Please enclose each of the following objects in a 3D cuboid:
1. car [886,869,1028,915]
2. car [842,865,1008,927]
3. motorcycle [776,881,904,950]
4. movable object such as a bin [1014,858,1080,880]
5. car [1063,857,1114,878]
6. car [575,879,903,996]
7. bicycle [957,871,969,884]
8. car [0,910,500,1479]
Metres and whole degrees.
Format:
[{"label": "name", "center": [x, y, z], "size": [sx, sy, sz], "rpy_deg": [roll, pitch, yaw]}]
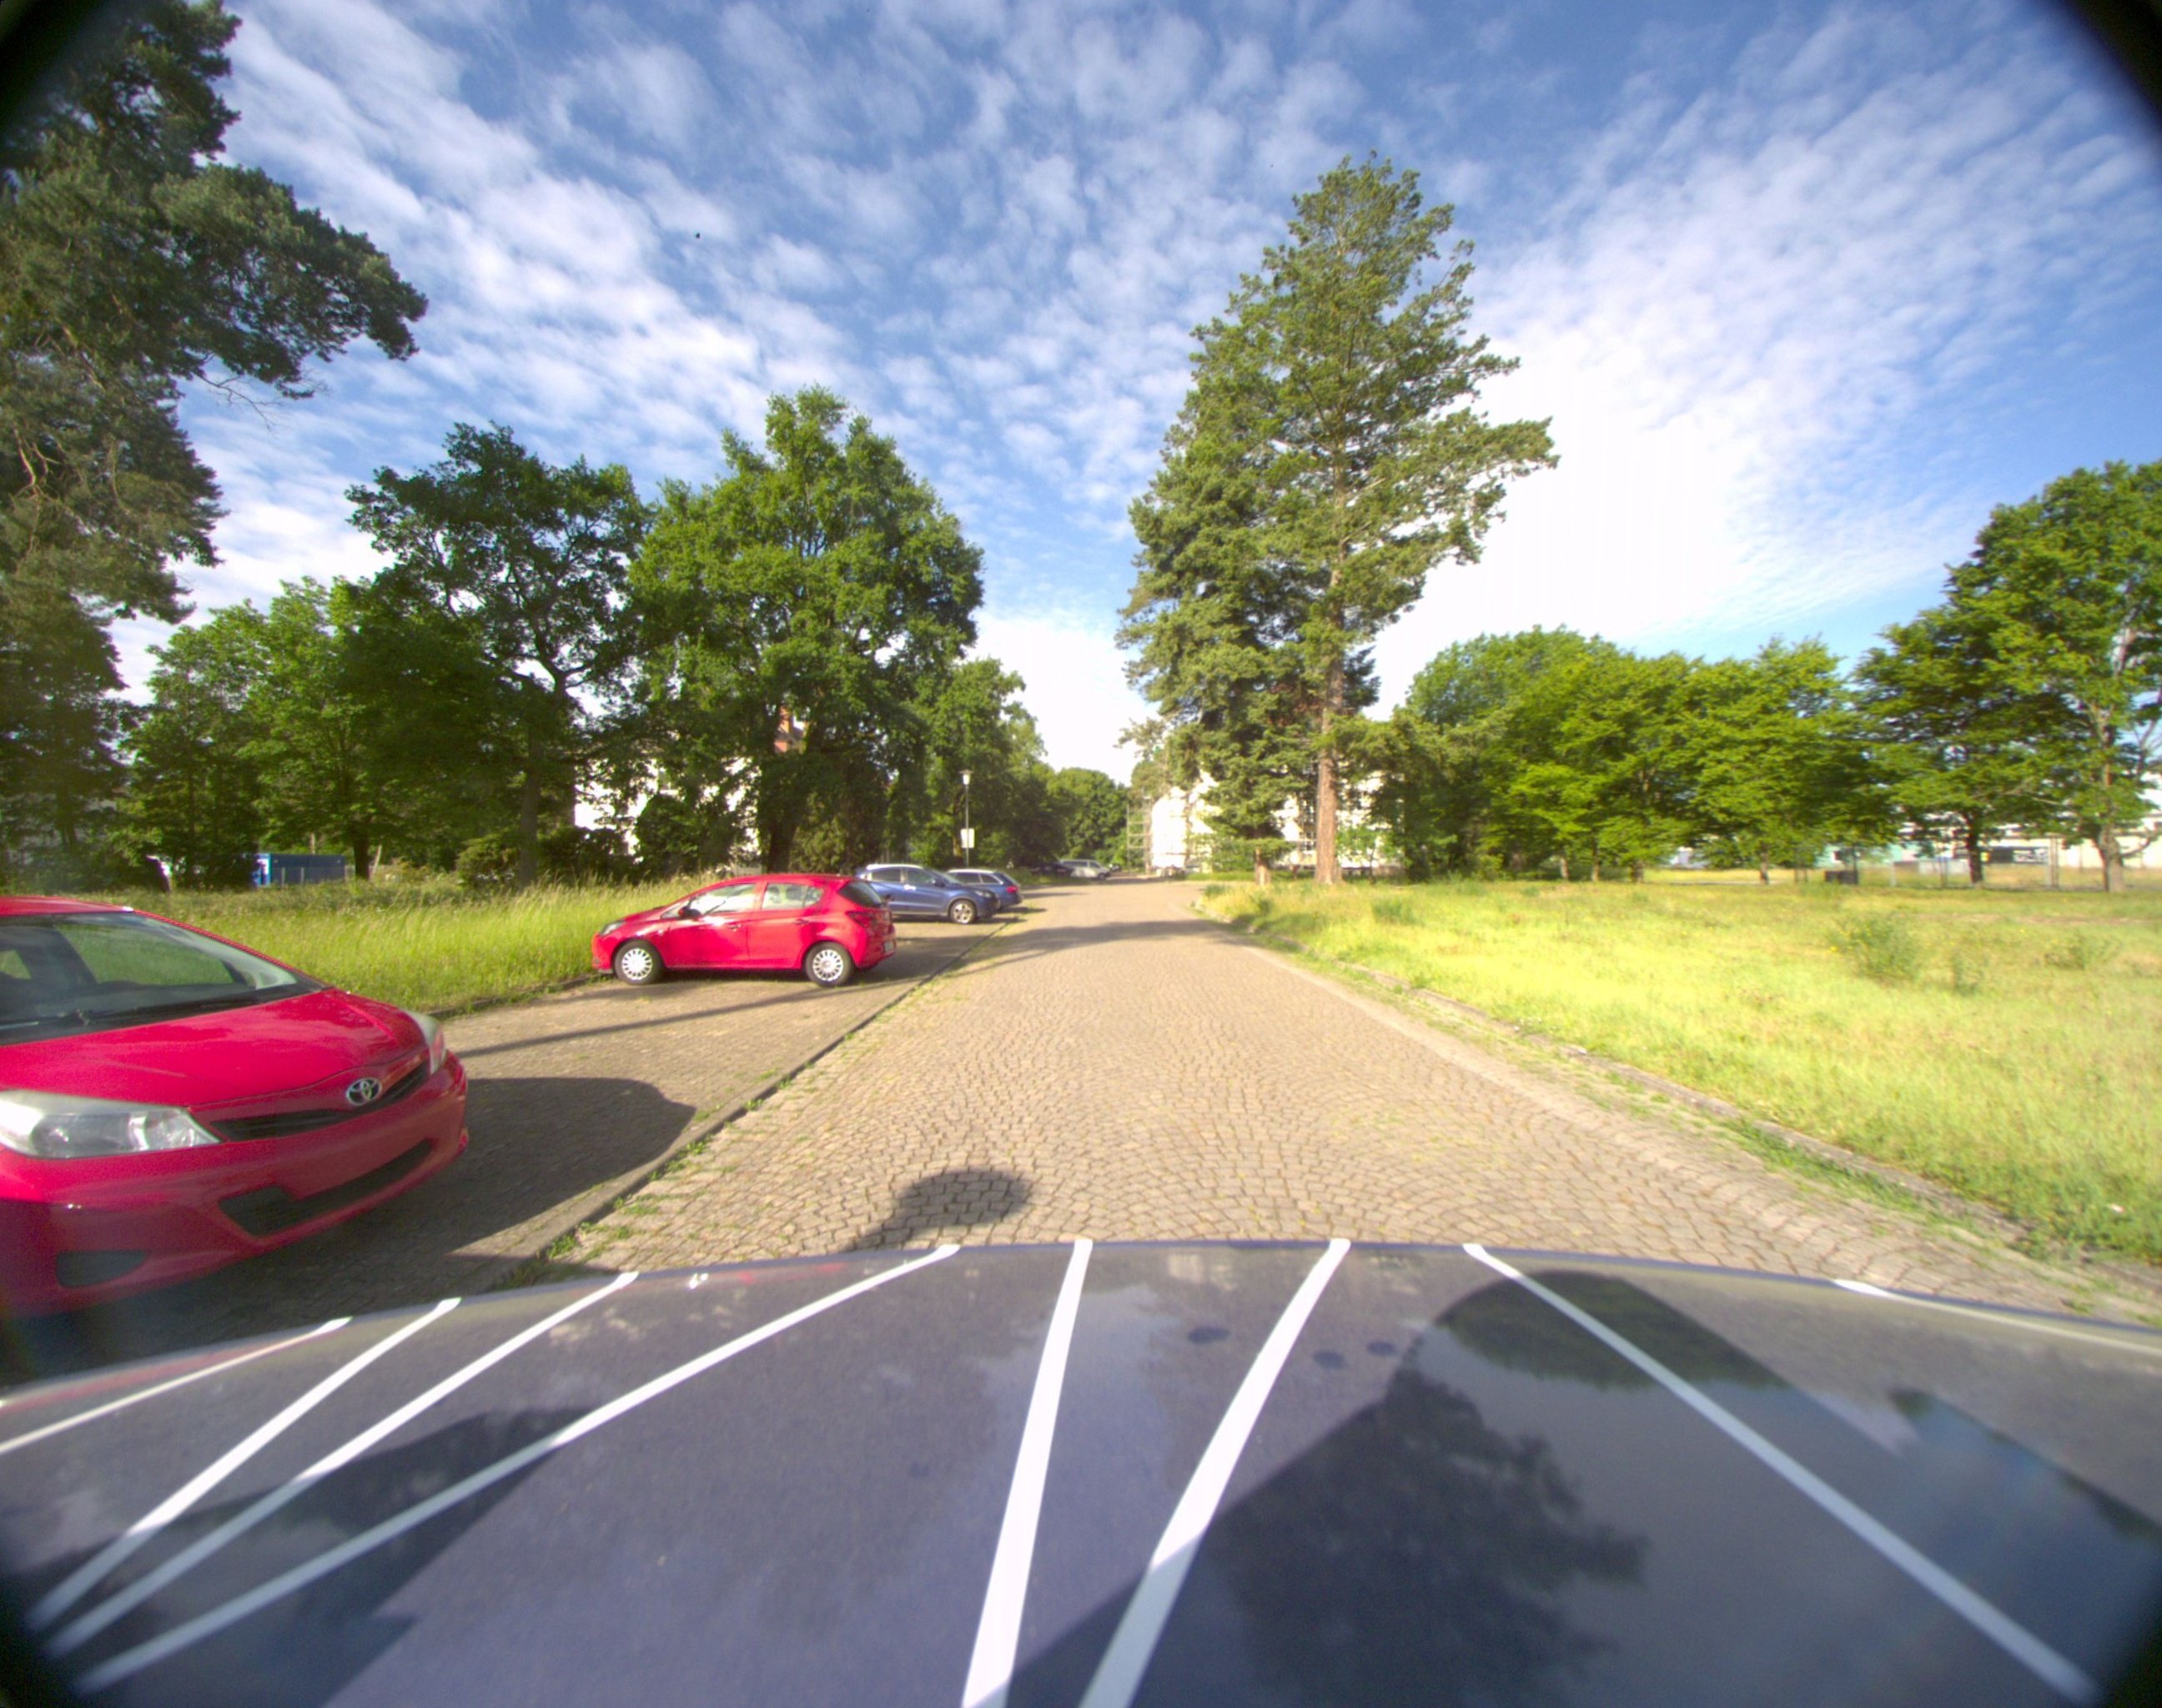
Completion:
[{"label": "car", "center": [-4.111, 1.254, 25.605], "size": [4.459, 1.399, 1.714], "rpy_deg": [1, 0, 4]}, {"label": "car", "center": [-4.199, 1.109, 20.914], "size": [4.187, 1.581, 1.751], "rpy_deg": [-1, 0, 0]}, {"label": "motorcycle", "center": [-4.784, 1.205, 15.166], "size": [2.305, 1.312, 0.726], "rpy_deg": [0, 0, 0]}, {"label": "movable object such as a bin", "center": [-2.750, 1.221, 61.456], "size": [4.931, 1.749, 2.002], "rpy_deg": [-1, 0, 15]}, {"label": "car", "center": [0.718, 1.298, 74.265], "size": [4.936, 2.002, 2.000], "rpy_deg": [-1, 0, 1]}, {"label": "car", "center": [-4.595, 1.106, 10.613], "size": [3.837, 1.470, 1.645], "rpy_deg": [0, 0, -1]}, {"label": "bicycle", "center": [-8.465, 1.693, 54.658], "size": [0.747, 0.929, 1.140], "rpy_deg": [-1, 0, -2]}, {"label": "car", "center": [-4.837, 1.058, 3.034], "size": [3.771, 1.521, 1.645], "rpy_deg": [-1, 0, 1]}]
